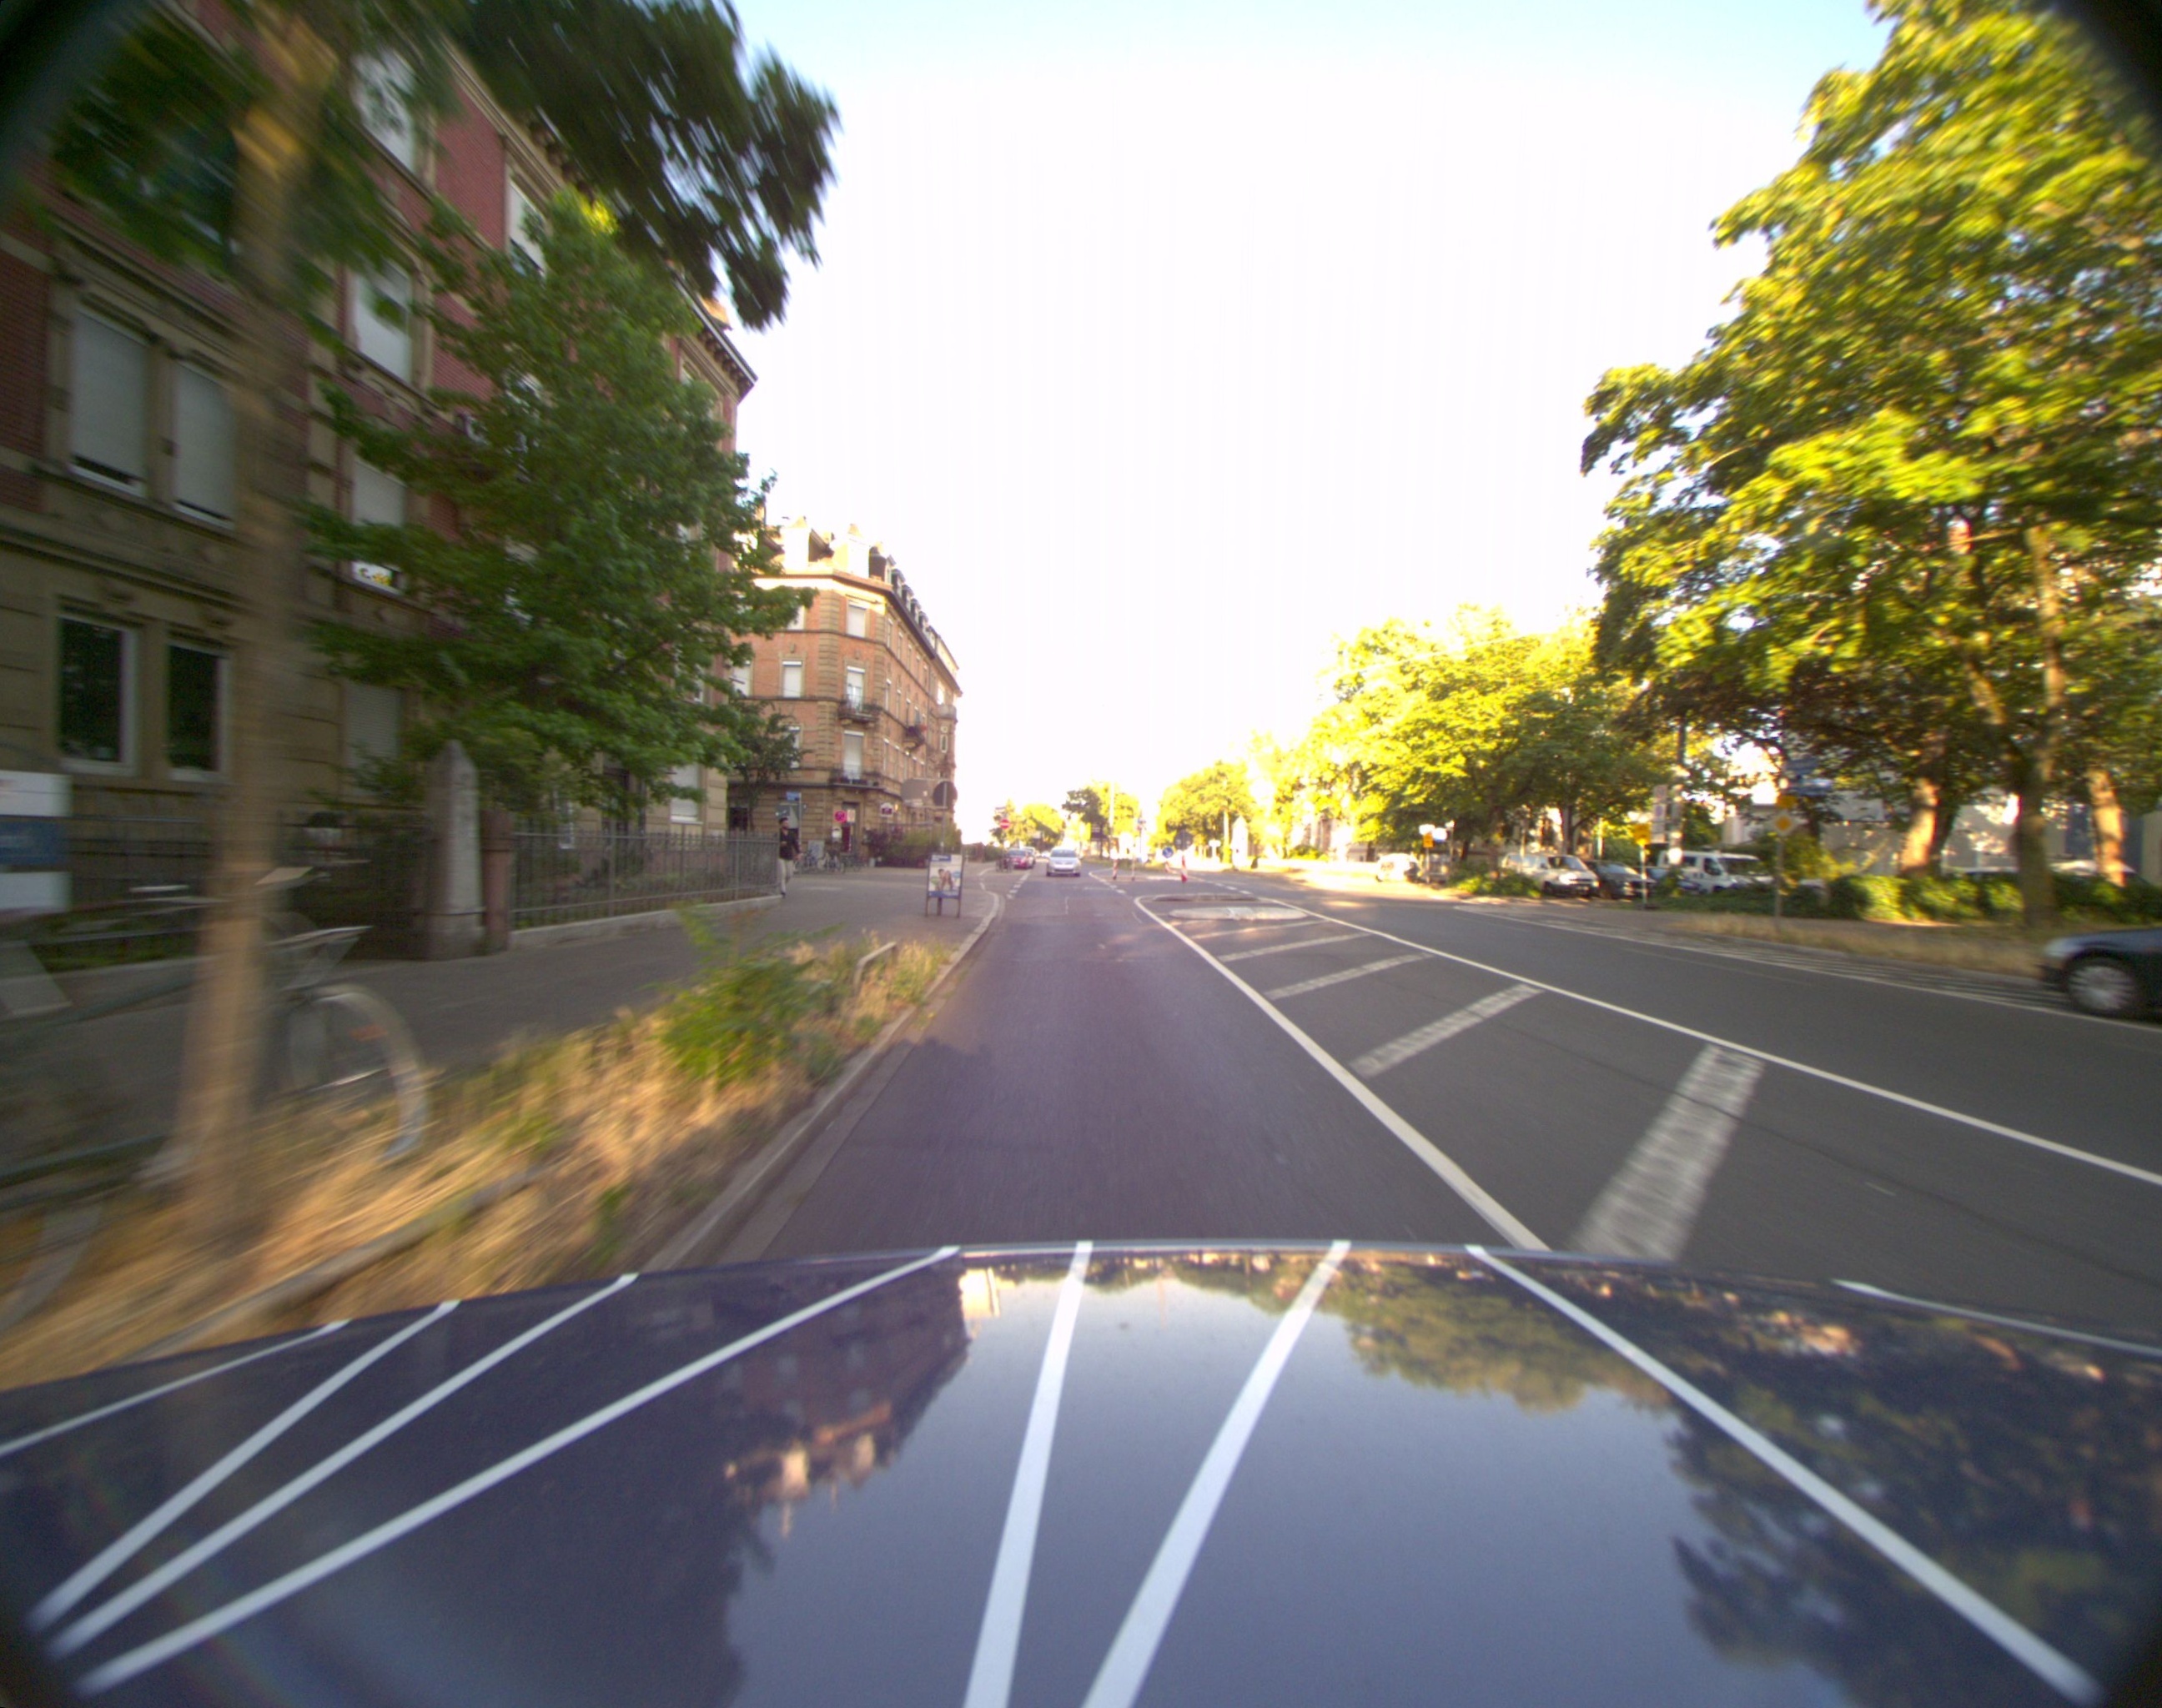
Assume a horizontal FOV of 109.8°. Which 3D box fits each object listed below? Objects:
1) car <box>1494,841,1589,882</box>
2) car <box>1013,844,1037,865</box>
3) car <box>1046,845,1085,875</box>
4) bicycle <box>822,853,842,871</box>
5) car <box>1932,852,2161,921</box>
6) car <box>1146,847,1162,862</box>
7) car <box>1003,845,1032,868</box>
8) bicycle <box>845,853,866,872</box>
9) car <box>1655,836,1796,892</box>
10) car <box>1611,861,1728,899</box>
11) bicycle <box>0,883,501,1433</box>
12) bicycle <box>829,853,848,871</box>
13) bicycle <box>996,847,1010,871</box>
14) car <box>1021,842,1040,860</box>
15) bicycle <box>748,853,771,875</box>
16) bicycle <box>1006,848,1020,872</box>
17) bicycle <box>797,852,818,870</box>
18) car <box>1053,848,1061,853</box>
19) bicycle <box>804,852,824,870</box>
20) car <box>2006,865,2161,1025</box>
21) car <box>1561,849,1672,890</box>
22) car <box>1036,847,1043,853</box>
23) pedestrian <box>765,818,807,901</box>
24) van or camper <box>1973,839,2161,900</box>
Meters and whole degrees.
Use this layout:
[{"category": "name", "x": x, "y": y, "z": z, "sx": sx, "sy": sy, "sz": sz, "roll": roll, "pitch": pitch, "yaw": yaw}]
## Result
[{"category": "car", "x": 21.055, "y": 0.300, "z": 34.924, "sx": 1.823, "sy": 1.785, "sz": 3.998, "roll": 1, "pitch": 1, "yaw": -2}, {"category": "car", "x": -4.299, "y": 0.009, "z": 58.717, "sx": 1.682, "sy": 1.418, "sz": 3.674, "roll": 5, "pitch": 1, "yaw": -4}, {"category": "car", "x": -0.887, "y": 0.307, "z": 40.603, "sx": 1.896, "sy": 1.455, "sz": 3.964, "roll": 2, "pitch": 0, "yaw": -3}, {"category": "bicycle", "x": -12.299, "y": 0.377, "z": 37.586, "sx": 0.295, "sy": 0.813, "sz": 1.497, "roll": 0, "pitch": 3, "yaw": 7}, {"category": "car", "x": 29.006, "y": 0.888, "z": 22.973, "sx": 1.999, "sy": 1.871, "sz": 3.998, "roll": 0, "pitch": 1, "yaw": -2}, {"category": "car", "x": 9.152, "y": 0.008, "z": 95.597, "sx": 1.880, "sy": 1.696, "sz": 4.568, "roll": 4, "pitch": 1, "yaw": 4}, {"category": "car", "x": -4.475, "y": 0.170, "z": 54.044, "sx": 1.731, "sy": 1.456, "sz": 3.546, "roll": 5, "pitch": 1, "yaw": -1}, {"category": "bicycle", "x": -11.029, "y": 0.404, "z": 37.146, "sx": 0.295, "sy": 0.812, "sz": 1.735, "roll": 0, "pitch": 3, "yaw": 7}, {"category": "car", "x": 28.637, "y": 0.382, "z": 34.062, "sx": 2.220, "sy": 2.275, "sz": 5.099, "roll": 1, "pitch": 1, "yaw": 5}, {"category": "car", "x": 26.083, "y": 1.108, "z": 33.873, "sx": 1.999, "sy": 1.531, "sz": 3.998, "roll": 1, "pitch": 1, "yaw": -2}, {"category": "bicycle", "x": -2.774, "y": 0.716, "z": 2.252, "sx": 0.648, "sy": 1.160, "sz": 1.930, "roll": 0, "pitch": 1, "yaw": -2}, {"category": "bicycle", "x": -11.983, "y": 0.368, "z": 37.555, "sx": 0.295, "sy": 0.813, "sz": 1.497, "roll": 0, "pitch": 3, "yaw": 7}, {"category": "bicycle", "x": -4.520, "y": 0.270, "z": 44.086, "sx": 0.567, "sy": 1.268, "sz": 2.263, "roll": 5, "pitch": 2, "yaw": -2}, {"category": "car", "x": -5.958, "y": -0.374, "z": 90.142, "sx": 1.892, "sy": 1.907, "sz": 5.178, "roll": 5, "pitch": 1, "yaw": -1}, {"category": "bicycle", "x": -12.412, "y": 0.408, "z": 29.396, "sx": 0.292, "sy": 0.812, "sz": 1.498, "roll": 0, "pitch": -2, "yaw": -1}, {"category": "bicycle", "x": -3.943, "y": 0.329, "z": 44.119, "sx": 0.567, "sy": 1.292, "sz": 2.263, "roll": 5, "pitch": 2, "yaw": -2}, {"category": "bicycle", "x": -13.467, "y": 0.332, "z": 37.477, "sx": 0.295, "sy": 0.813, "sz": 1.497, "roll": 0, "pitch": 3, "yaw": 7}, {"category": "car", "x": -6.958, "y": -1.046, "z": 217.937, "sx": 1.948, "sy": 1.259, "sz": 4.161, "roll": 2, "pitch": 0, "yaw": -4}, {"category": "bicycle", "x": -13.144, "y": 0.330, "z": 37.459, "sx": 0.295, "sy": 0.813, "sz": 1.497, "roll": 0, "pitch": 3, "yaw": 7}, {"category": "car", "x": 11.110, "y": 0.927, "z": 6.196, "sx": 1.627, "sy": 1.498, "sz": 4.544, "roll": 2, "pitch": 1, "yaw": 2}, {"category": "car", "x": 23.515, "y": 0.618, "z": 33.571, "sx": 1.999, "sy": 1.652, "sz": 3.998, "roll": 1, "pitch": 1, "yaw": -2}, {"category": "car", "x": -11.913, "y": -1.100, "z": 219.018, "sx": 1.948, "sy": 1.514, "sz": 4.161, "roll": 2, "pitch": 0, "yaw": -4}, {"category": "pedestrian", "x": -6.596, "y": 0.122, "z": 17.018, "sx": 0.749, "sy": 1.768, "sz": 0.830, "roll": 4, "pitch": 1, "yaw": -20}, {"category": "van or camper", "x": 43.406, "y": 0.604, "z": 33.354, "sx": 2.071, "sy": 2.457, "sz": 5.427, "roll": 1, "pitch": 1, "yaw": 1}]
